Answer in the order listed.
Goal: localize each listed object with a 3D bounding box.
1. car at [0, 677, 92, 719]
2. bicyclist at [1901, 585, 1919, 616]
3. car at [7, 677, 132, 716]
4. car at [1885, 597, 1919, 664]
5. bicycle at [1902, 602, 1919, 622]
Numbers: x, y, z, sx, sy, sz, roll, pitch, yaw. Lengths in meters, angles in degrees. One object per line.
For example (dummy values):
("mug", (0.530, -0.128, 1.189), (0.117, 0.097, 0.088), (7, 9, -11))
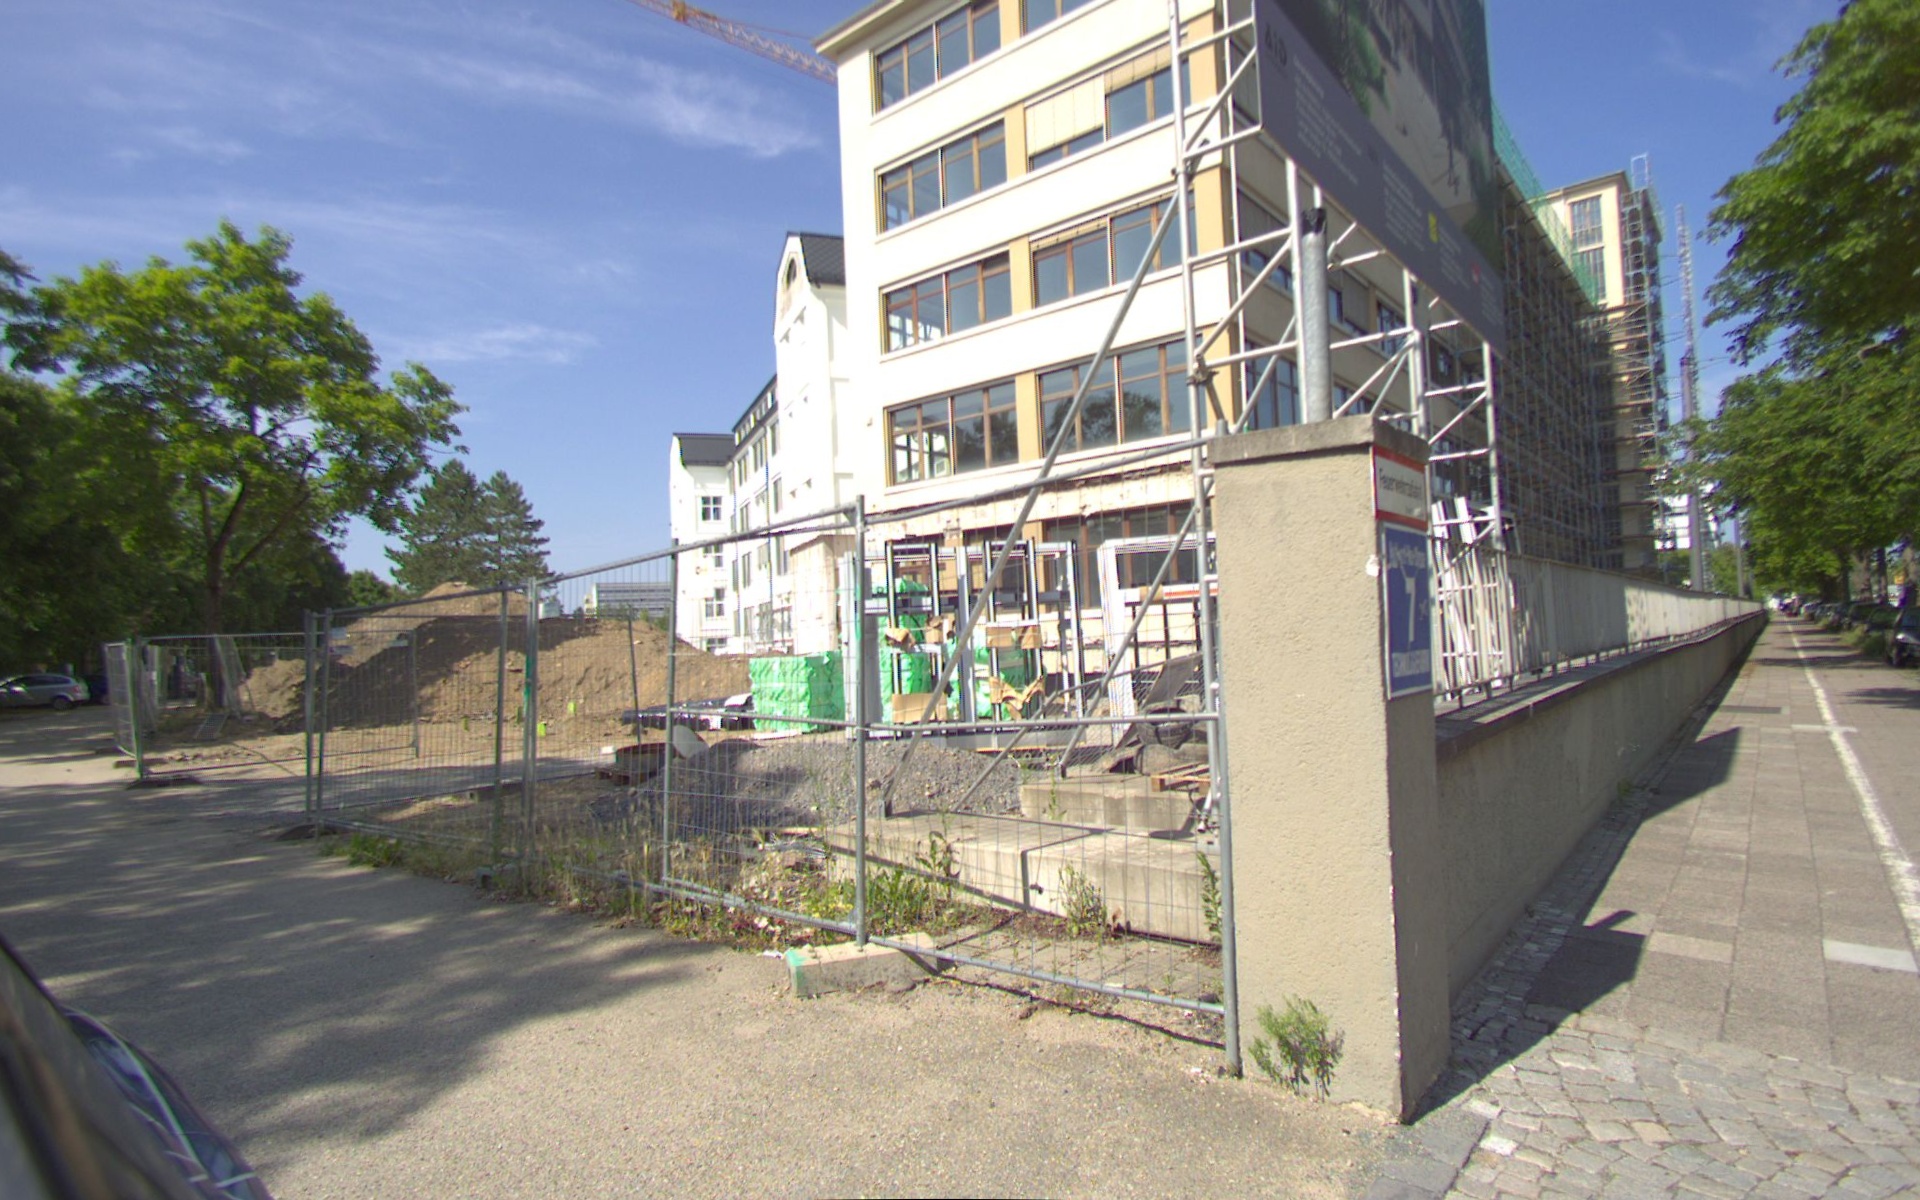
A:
("car", (-38.072, 4.014, 41.143), (3.931, 1.519, 2.006), (-1, -3, -30))
("bicyclist", (50.950, 0.025, 54.203), (0.631, 1.619, 0.693), (-4, -3, 37))
("car", (-40.393, 4.366, 46.013), (3.931, 1.453, 2.006), (-1, -3, -30))
("car", (22.640, 0.635, 23.156), (1.819, 1.464, 3.948), (-4, -3, 39))
("bicycle", (51.032, 0.644, 54.243), (0.596, 1.014, 1.468), (-4, -3, 37))
